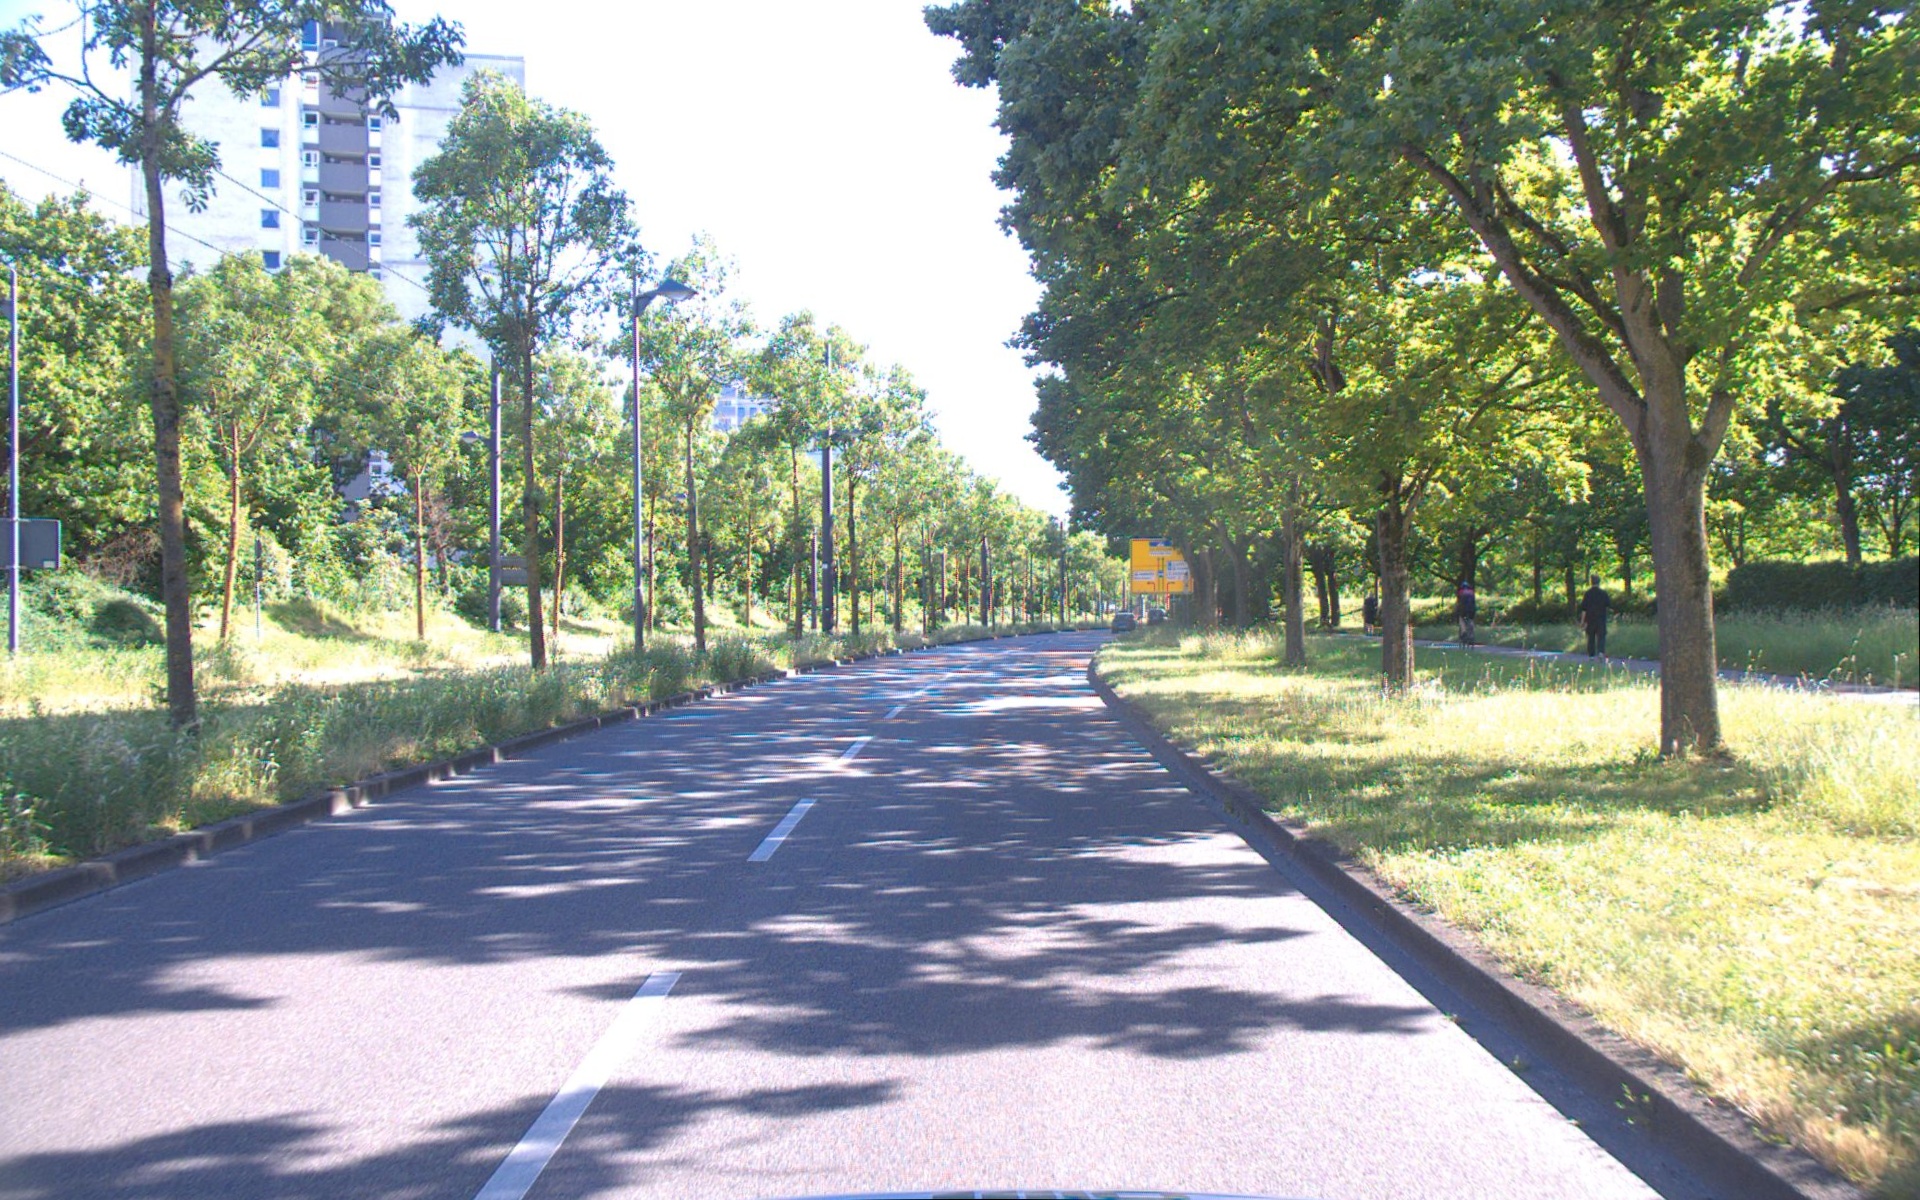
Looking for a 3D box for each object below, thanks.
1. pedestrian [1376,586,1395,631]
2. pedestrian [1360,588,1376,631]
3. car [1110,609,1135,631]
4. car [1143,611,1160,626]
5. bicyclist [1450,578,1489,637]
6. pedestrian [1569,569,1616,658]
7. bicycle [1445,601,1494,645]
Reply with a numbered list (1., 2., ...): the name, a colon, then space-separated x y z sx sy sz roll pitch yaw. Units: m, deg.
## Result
1. pedestrian: 16.570 0.327 64.403 0.622 1.721 0.844 -1 -1 17
2. pedestrian: 15.937 0.379 64.649 0.535 1.650 0.844 -1 -1 17
3. car: 11.943 1.463 121.483 1.599 1.524 4.238 0 0 8
4. car: 19.858 1.925 171.418 1.599 1.524 4.238 0 0 9
5. bicyclist: 12.898 0.188 41.913 0.773 1.476 0.845 -1 -1 6
6. pedestrian: 13.163 0.279 34.433 0.700 1.835 0.794 0 -1 4
7. bicycle: 12.908 0.583 41.963 0.777 1.065 2.144 -1 -1 6
